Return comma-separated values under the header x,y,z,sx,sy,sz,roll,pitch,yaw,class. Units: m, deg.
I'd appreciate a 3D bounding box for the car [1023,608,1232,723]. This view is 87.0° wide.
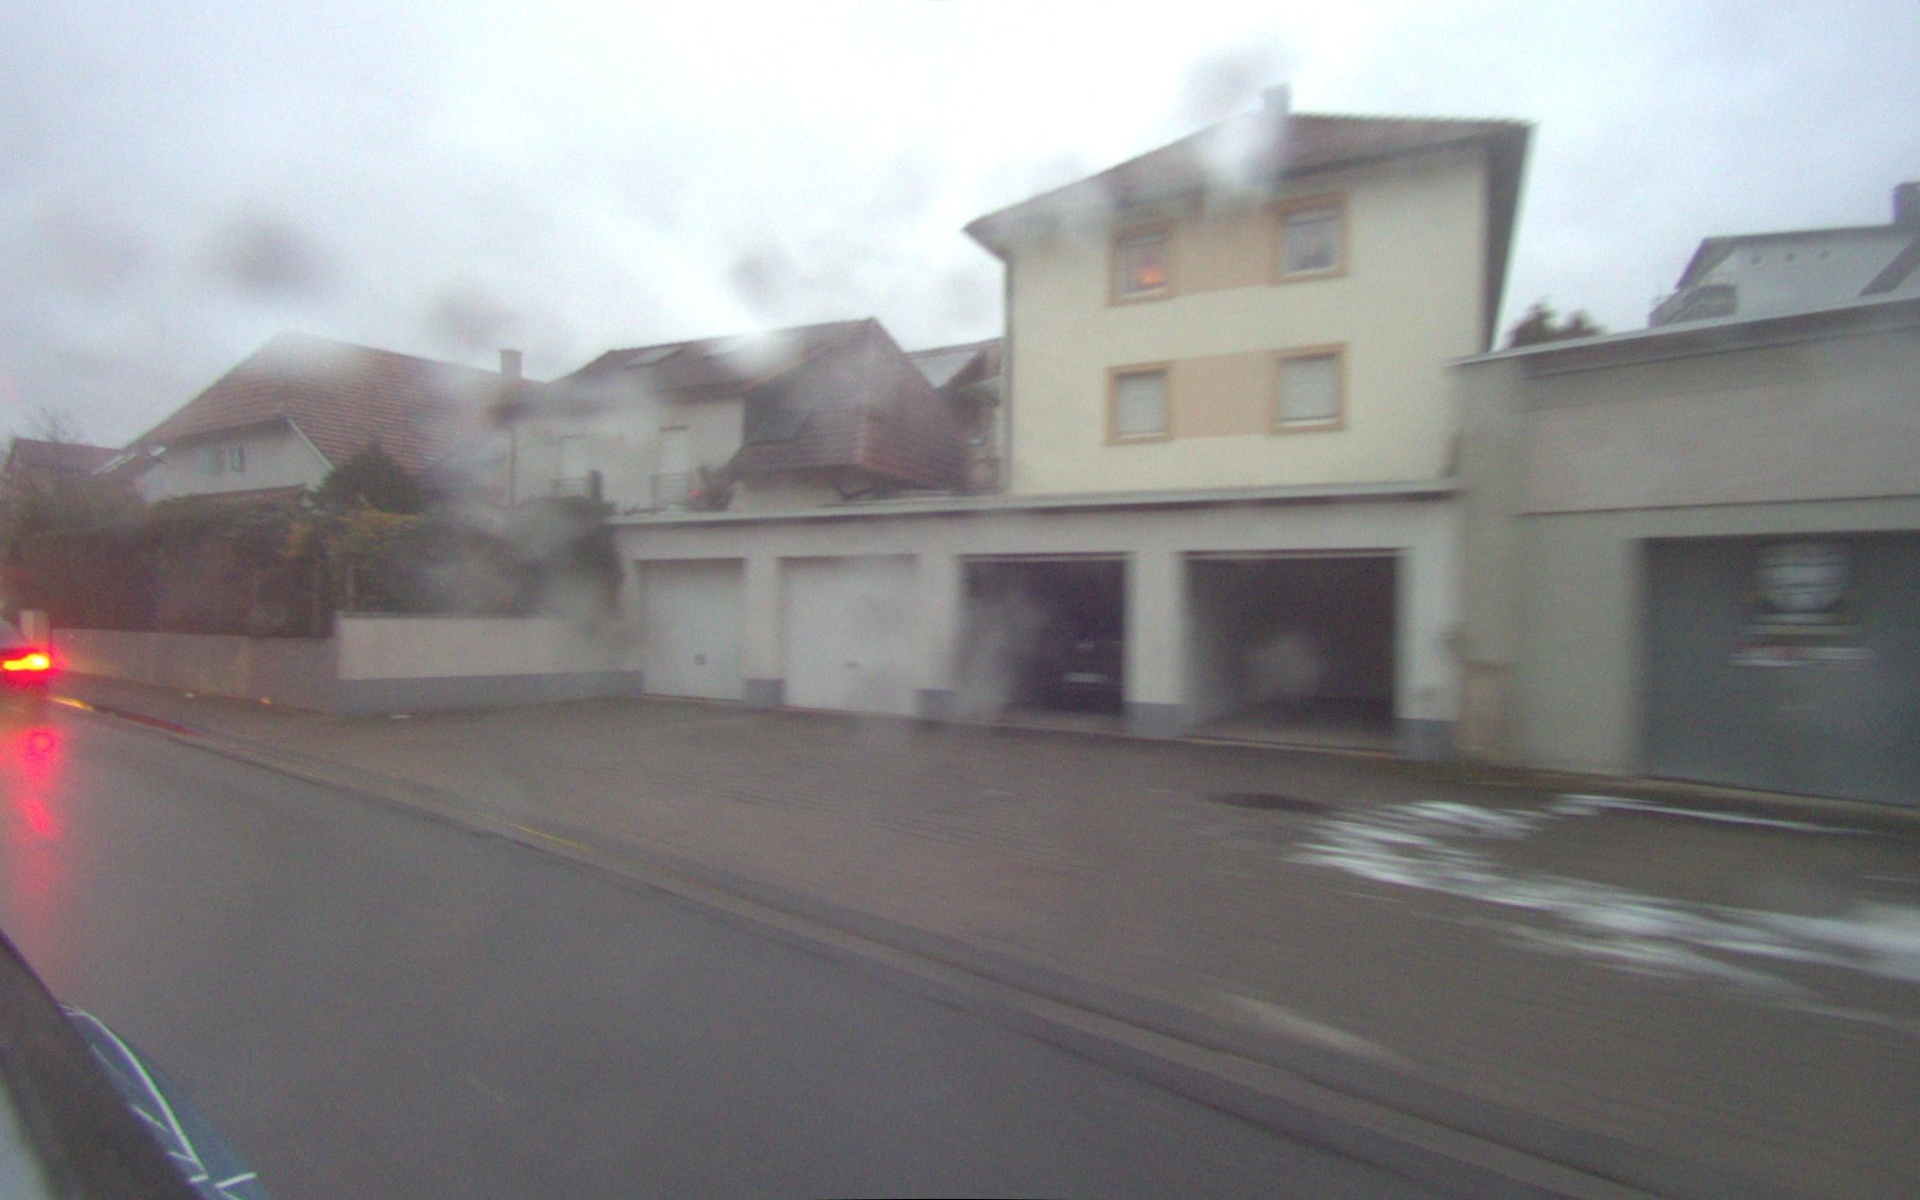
x,y,z,sx,sy,sz,roll,pitch,yaw,class
2.559,0.840,14.634,1.754,1.414,3.960,-1,-1,29,car

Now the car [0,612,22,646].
x,y,z,sx,sy,sz,roll,pitch,yaw,class
-49.014,1.438,49.835,3.935,1.674,1.759,0,-1,-37,car

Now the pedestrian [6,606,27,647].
x,y,z,sx,sy,sz,roll,pitch,yaw,class
-41.564,1.166,44.590,0.581,1.797,0.584,-1,0,41,pedestrian

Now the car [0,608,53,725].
x,y,z,sx,sy,sz,roll,pitch,yaw,class
-14.376,0.887,14.184,4.233,1.509,1.965,-1,-1,41,car

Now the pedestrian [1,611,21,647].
x,y,z,sx,sy,sz,roll,pitch,yaw,class
-42.305,1.278,45.108,0.581,1.583,0.584,-1,0,41,pedestrian
